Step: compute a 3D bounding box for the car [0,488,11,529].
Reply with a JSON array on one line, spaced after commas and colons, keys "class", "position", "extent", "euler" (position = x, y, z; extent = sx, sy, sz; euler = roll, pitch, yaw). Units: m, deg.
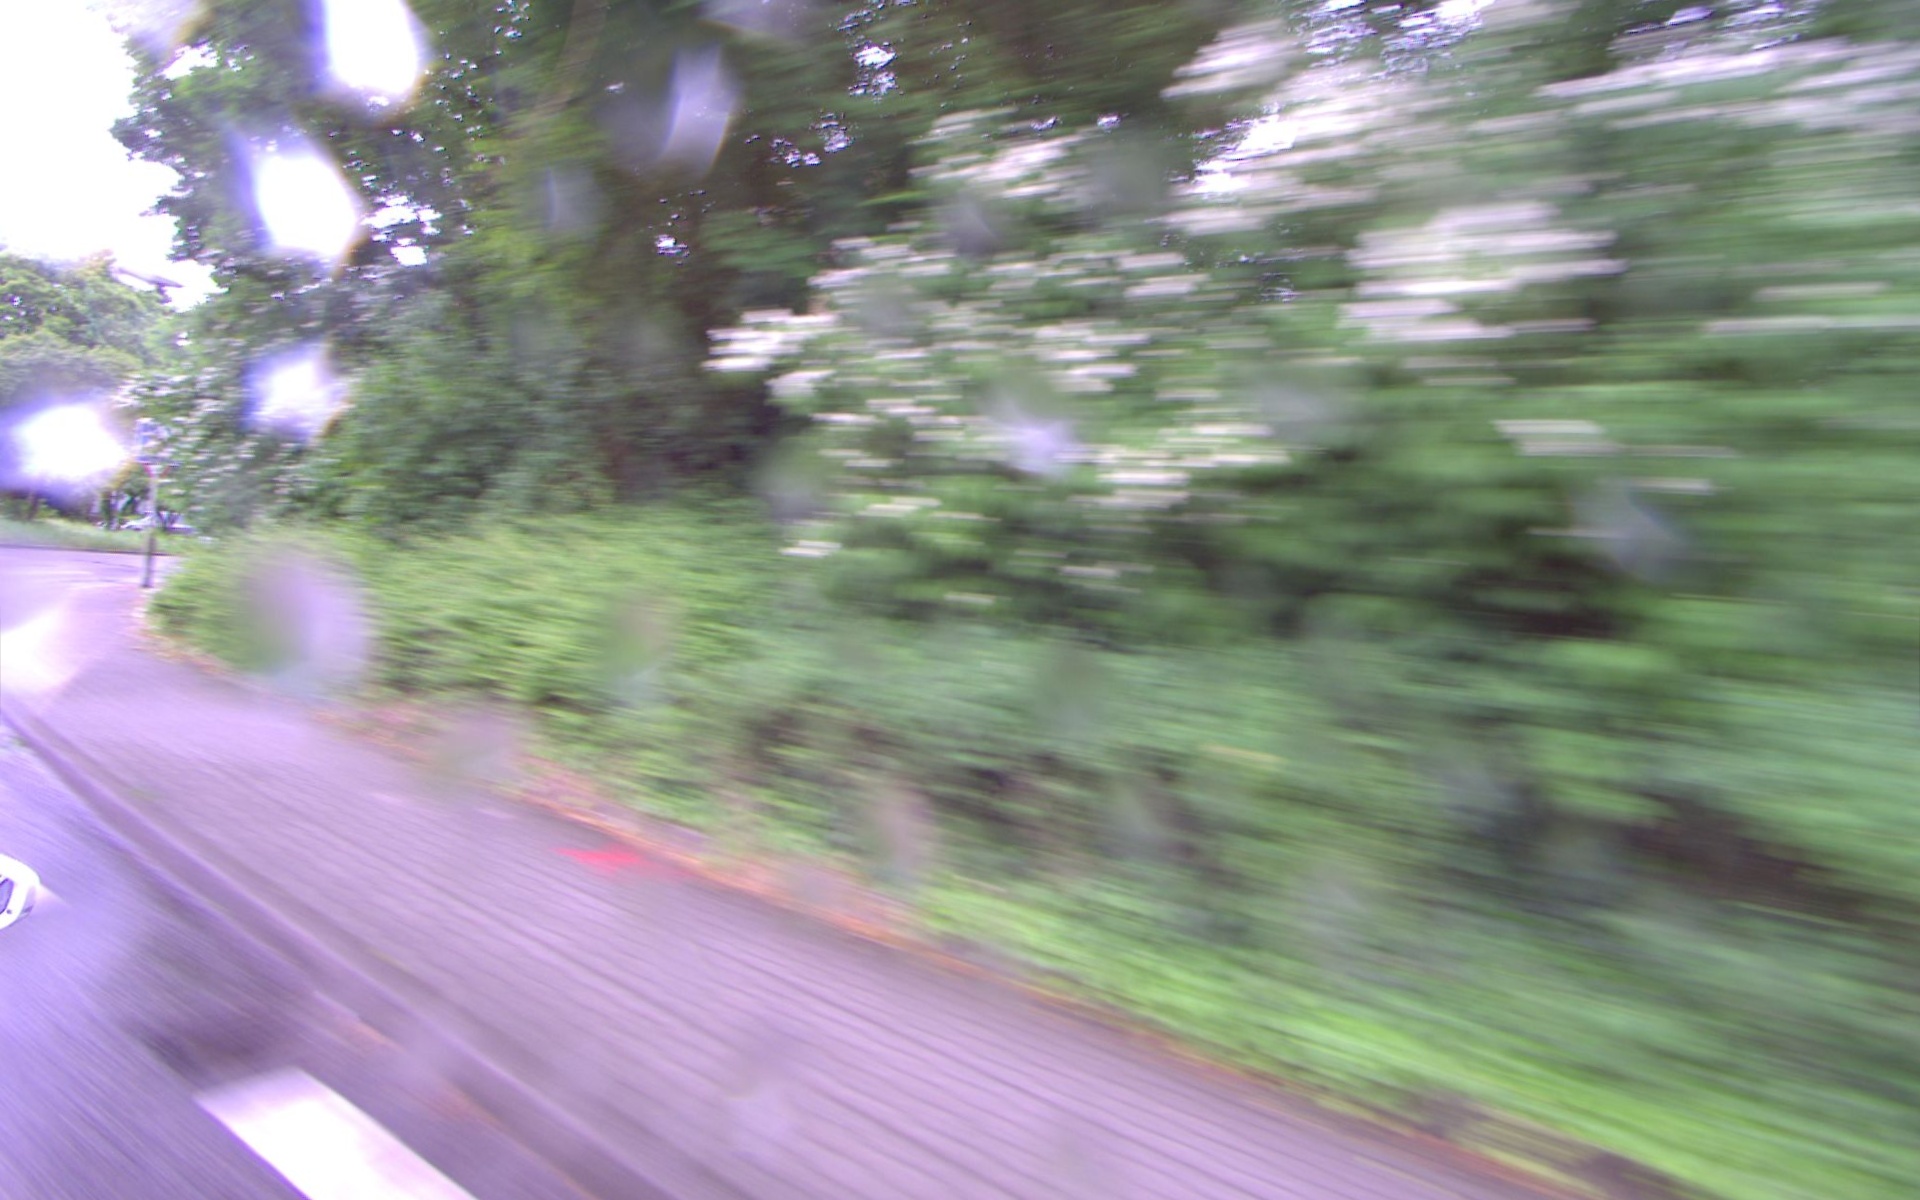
[{"class": "car", "position": [-38.951, -3.765, 38.026], "extent": [1.867, 1.527, 4.000], "euler": [4, -2, 23]}]
